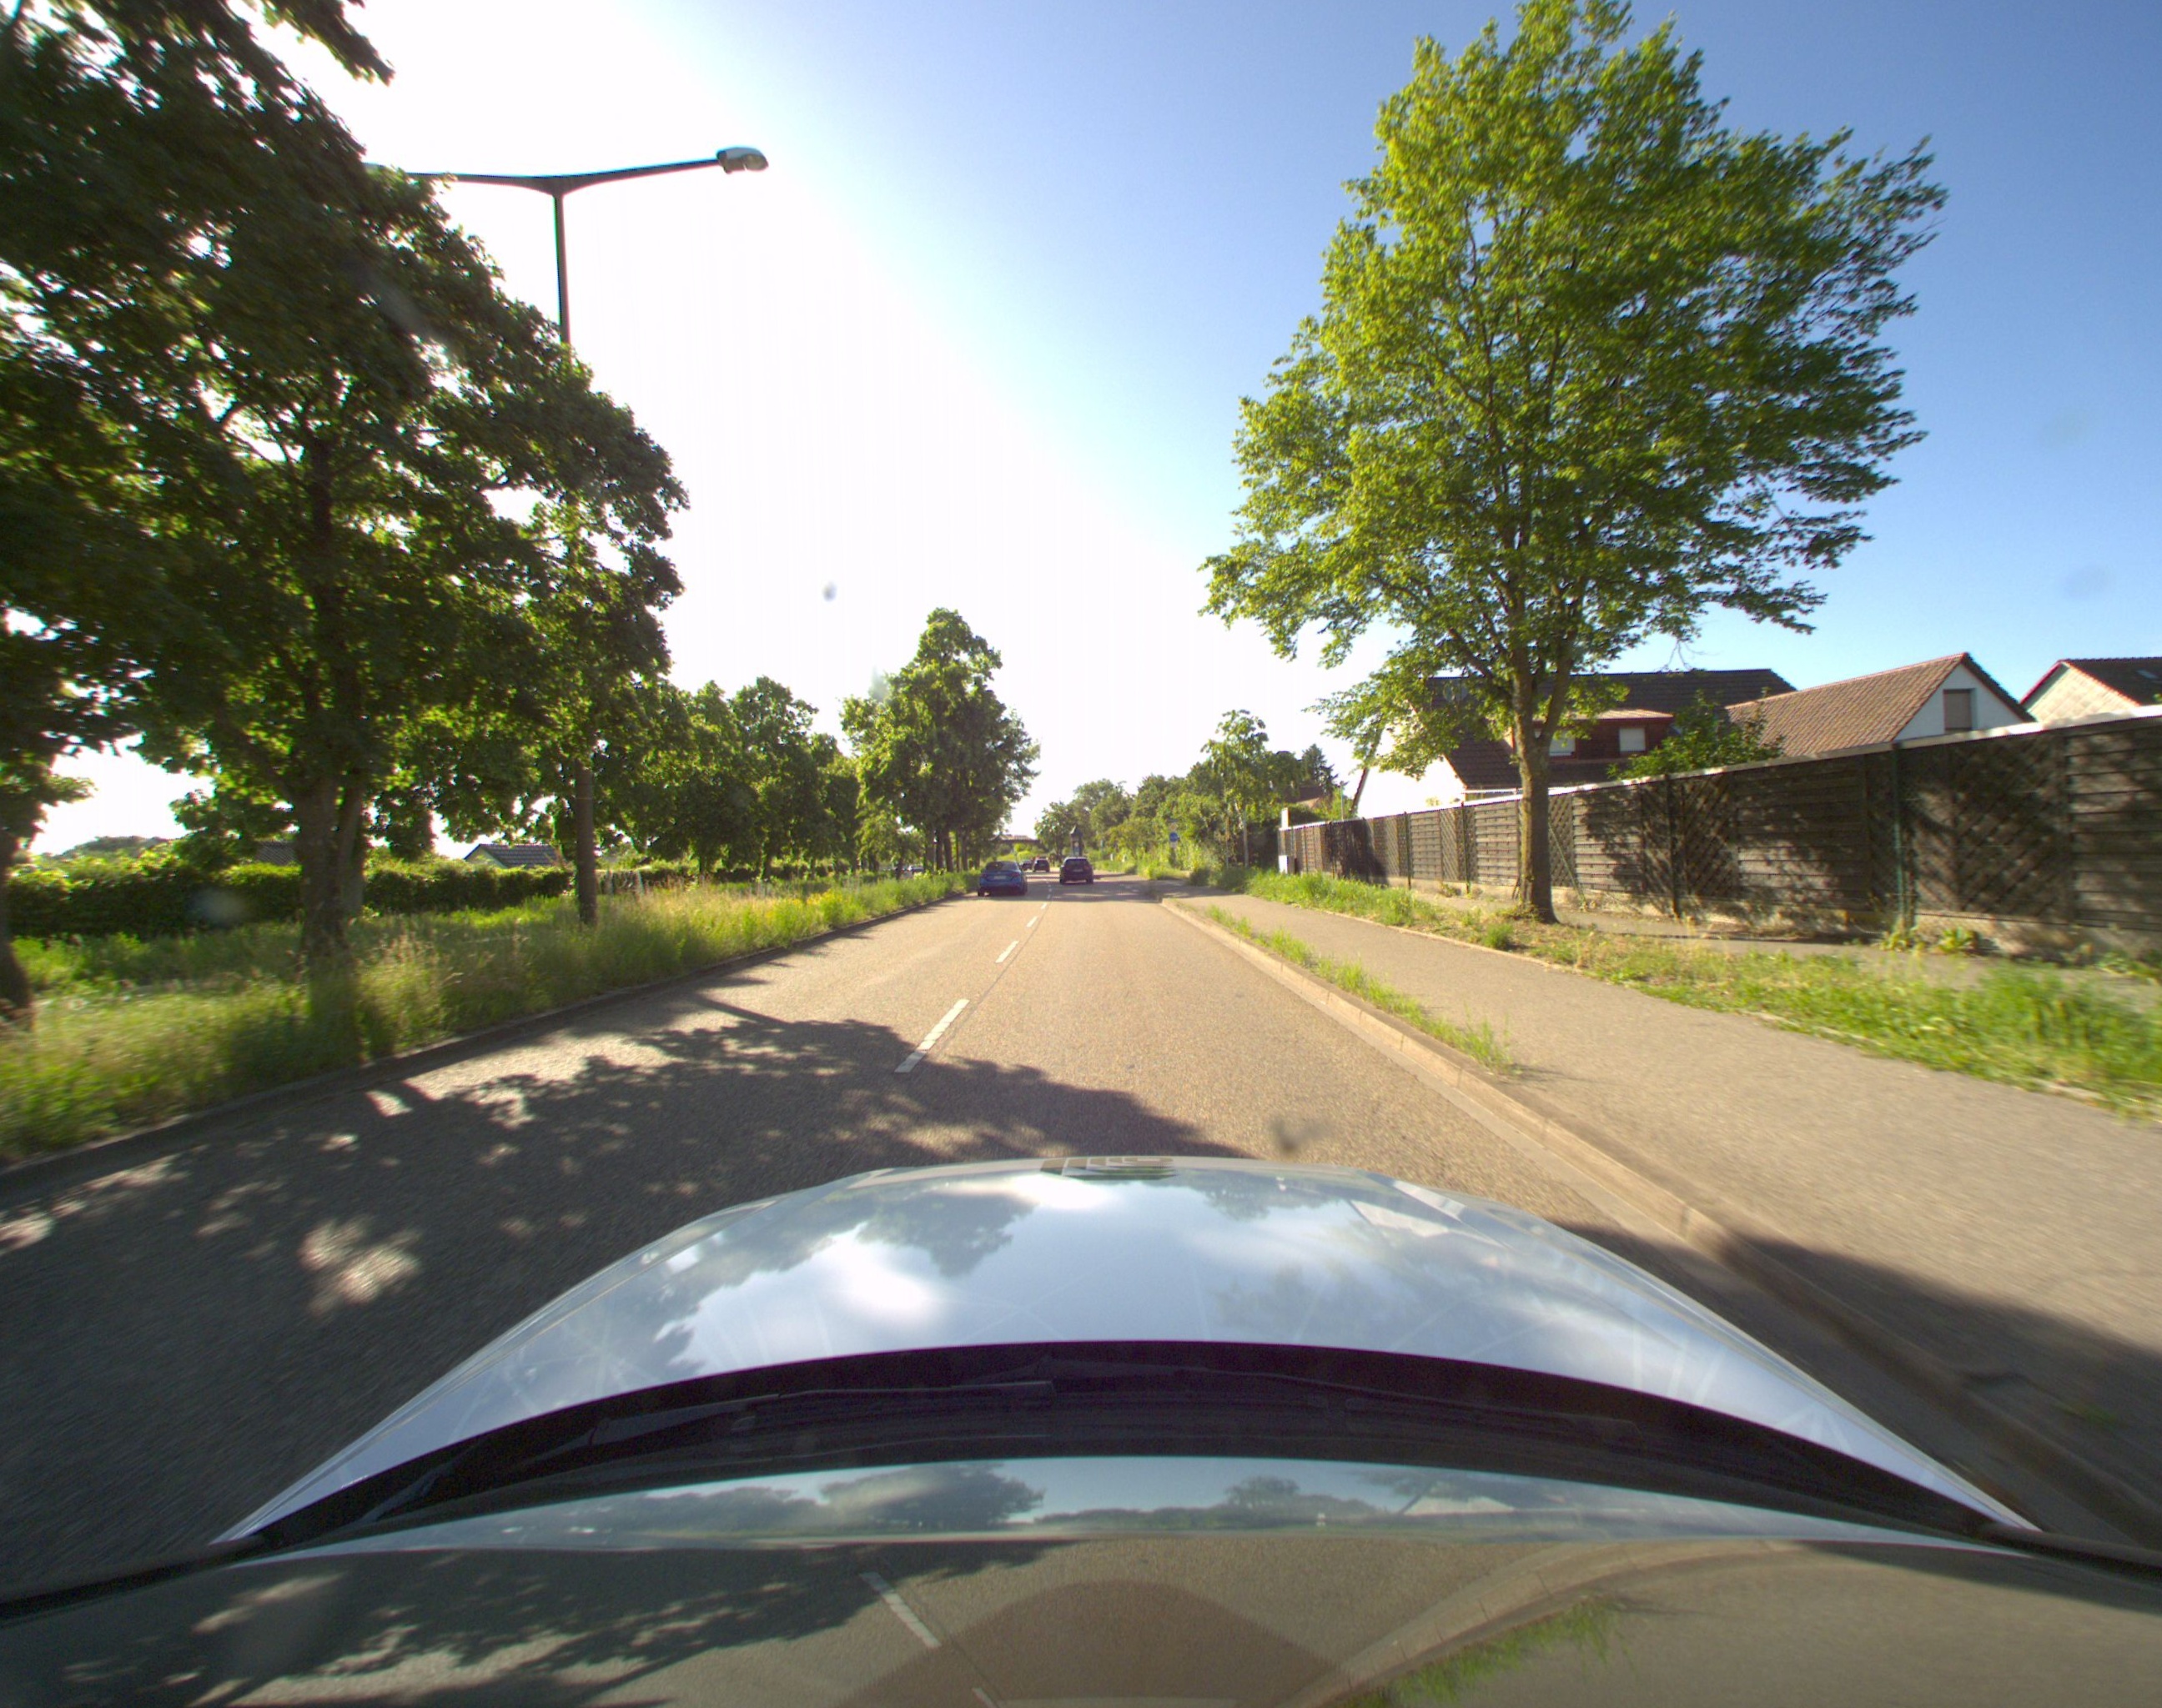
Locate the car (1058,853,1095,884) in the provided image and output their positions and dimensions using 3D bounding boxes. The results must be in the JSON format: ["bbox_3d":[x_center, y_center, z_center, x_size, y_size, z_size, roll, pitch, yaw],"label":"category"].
[{"bbox_3d":[-0.219,0.759,45.365,1.909,1.579,4.181,-2,0,0],"label":"car"}]

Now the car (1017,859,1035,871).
[{"bbox_3d":[-8.003,1.639,118.475,1.918,1.678,3.994,-1,-1,-13],"label":"car"}]

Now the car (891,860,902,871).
[{"bbox_3d":[-36.133,2.180,159.321,1.807,2.013,3.980,-2,0,-15],"label":"car"}]

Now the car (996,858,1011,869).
[{"bbox_3d":[-11.112,1.326,116.700,1.913,1.512,4.058,-2,0,-7],"label":"car"}]

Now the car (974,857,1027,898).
[{"bbox_3d":[-3.269,0.935,33.896,1.833,1.474,4.182,-3,0,-2],"label":"car"}]

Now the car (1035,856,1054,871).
[{"bbox_3d":[-4.173,1.078,92.916,1.912,1.579,4.174,-1,-1,-5],"label":"car"}]

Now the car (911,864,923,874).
[{"bbox_3d":[-24.759,2.207,123.063,1.669,1.467,3.771,-1,0,-9],"label":"car"}]
